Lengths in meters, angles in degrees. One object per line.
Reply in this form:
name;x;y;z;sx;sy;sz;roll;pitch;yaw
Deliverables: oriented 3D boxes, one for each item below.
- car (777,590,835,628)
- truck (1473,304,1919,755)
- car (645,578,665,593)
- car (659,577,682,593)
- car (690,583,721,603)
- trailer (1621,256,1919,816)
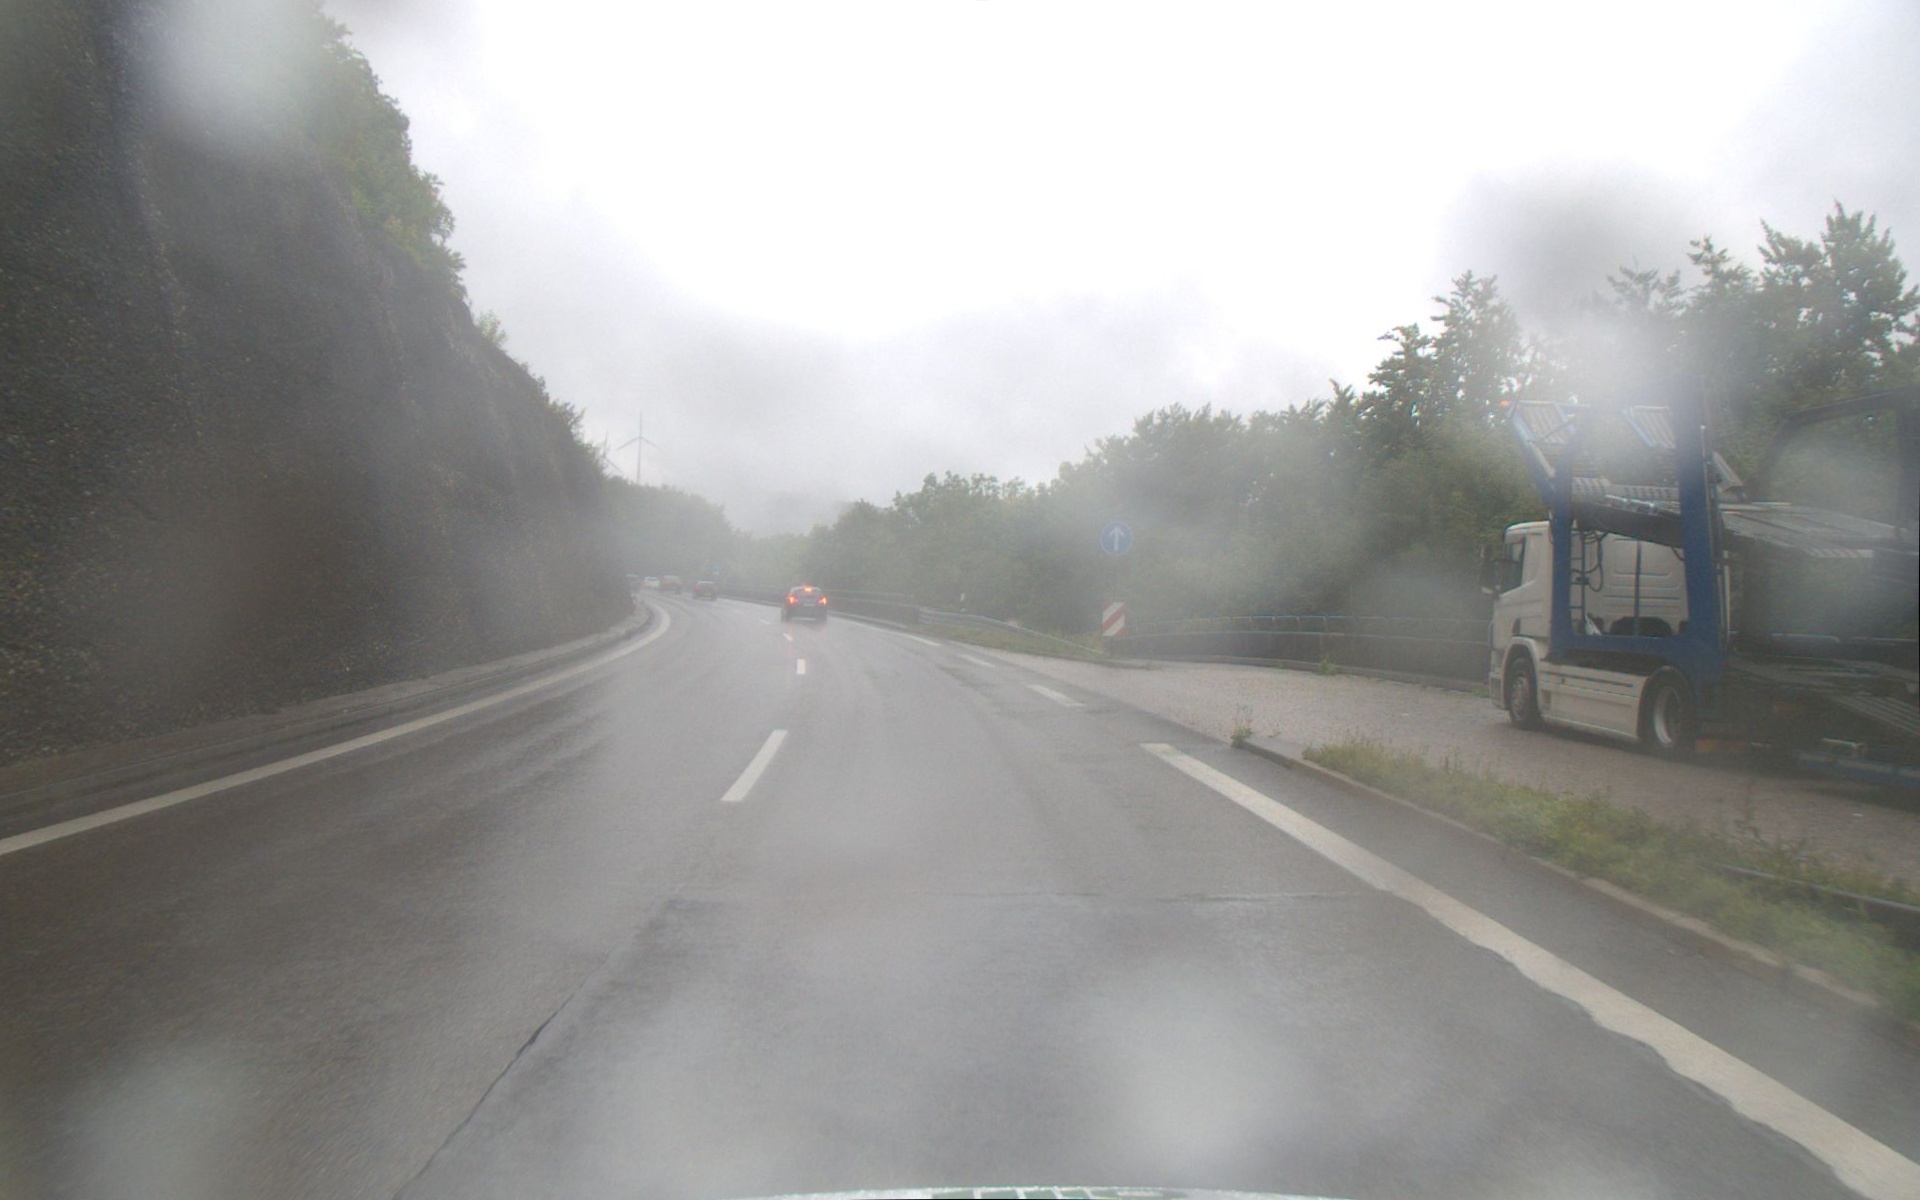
car;-6.691;0.377;71.540;1.871;1.525;3.986;2;0;-14
truck;8.614;-0.667;19.390;2.838;4.319;6.878;1;0;-2
car;-33.822;-1.600;183.204;1.872;1.525;3.985;2;0;-15
car;-28.325;-1.470;161.868;1.872;1.525;3.984;2;0;-15
car;-20.623;-0.588;133.923;1.873;1.525;3.983;2;0;-16
trailer;8.886;-0.486;10.807;2.834;4.319;14.691;1;0;-2
